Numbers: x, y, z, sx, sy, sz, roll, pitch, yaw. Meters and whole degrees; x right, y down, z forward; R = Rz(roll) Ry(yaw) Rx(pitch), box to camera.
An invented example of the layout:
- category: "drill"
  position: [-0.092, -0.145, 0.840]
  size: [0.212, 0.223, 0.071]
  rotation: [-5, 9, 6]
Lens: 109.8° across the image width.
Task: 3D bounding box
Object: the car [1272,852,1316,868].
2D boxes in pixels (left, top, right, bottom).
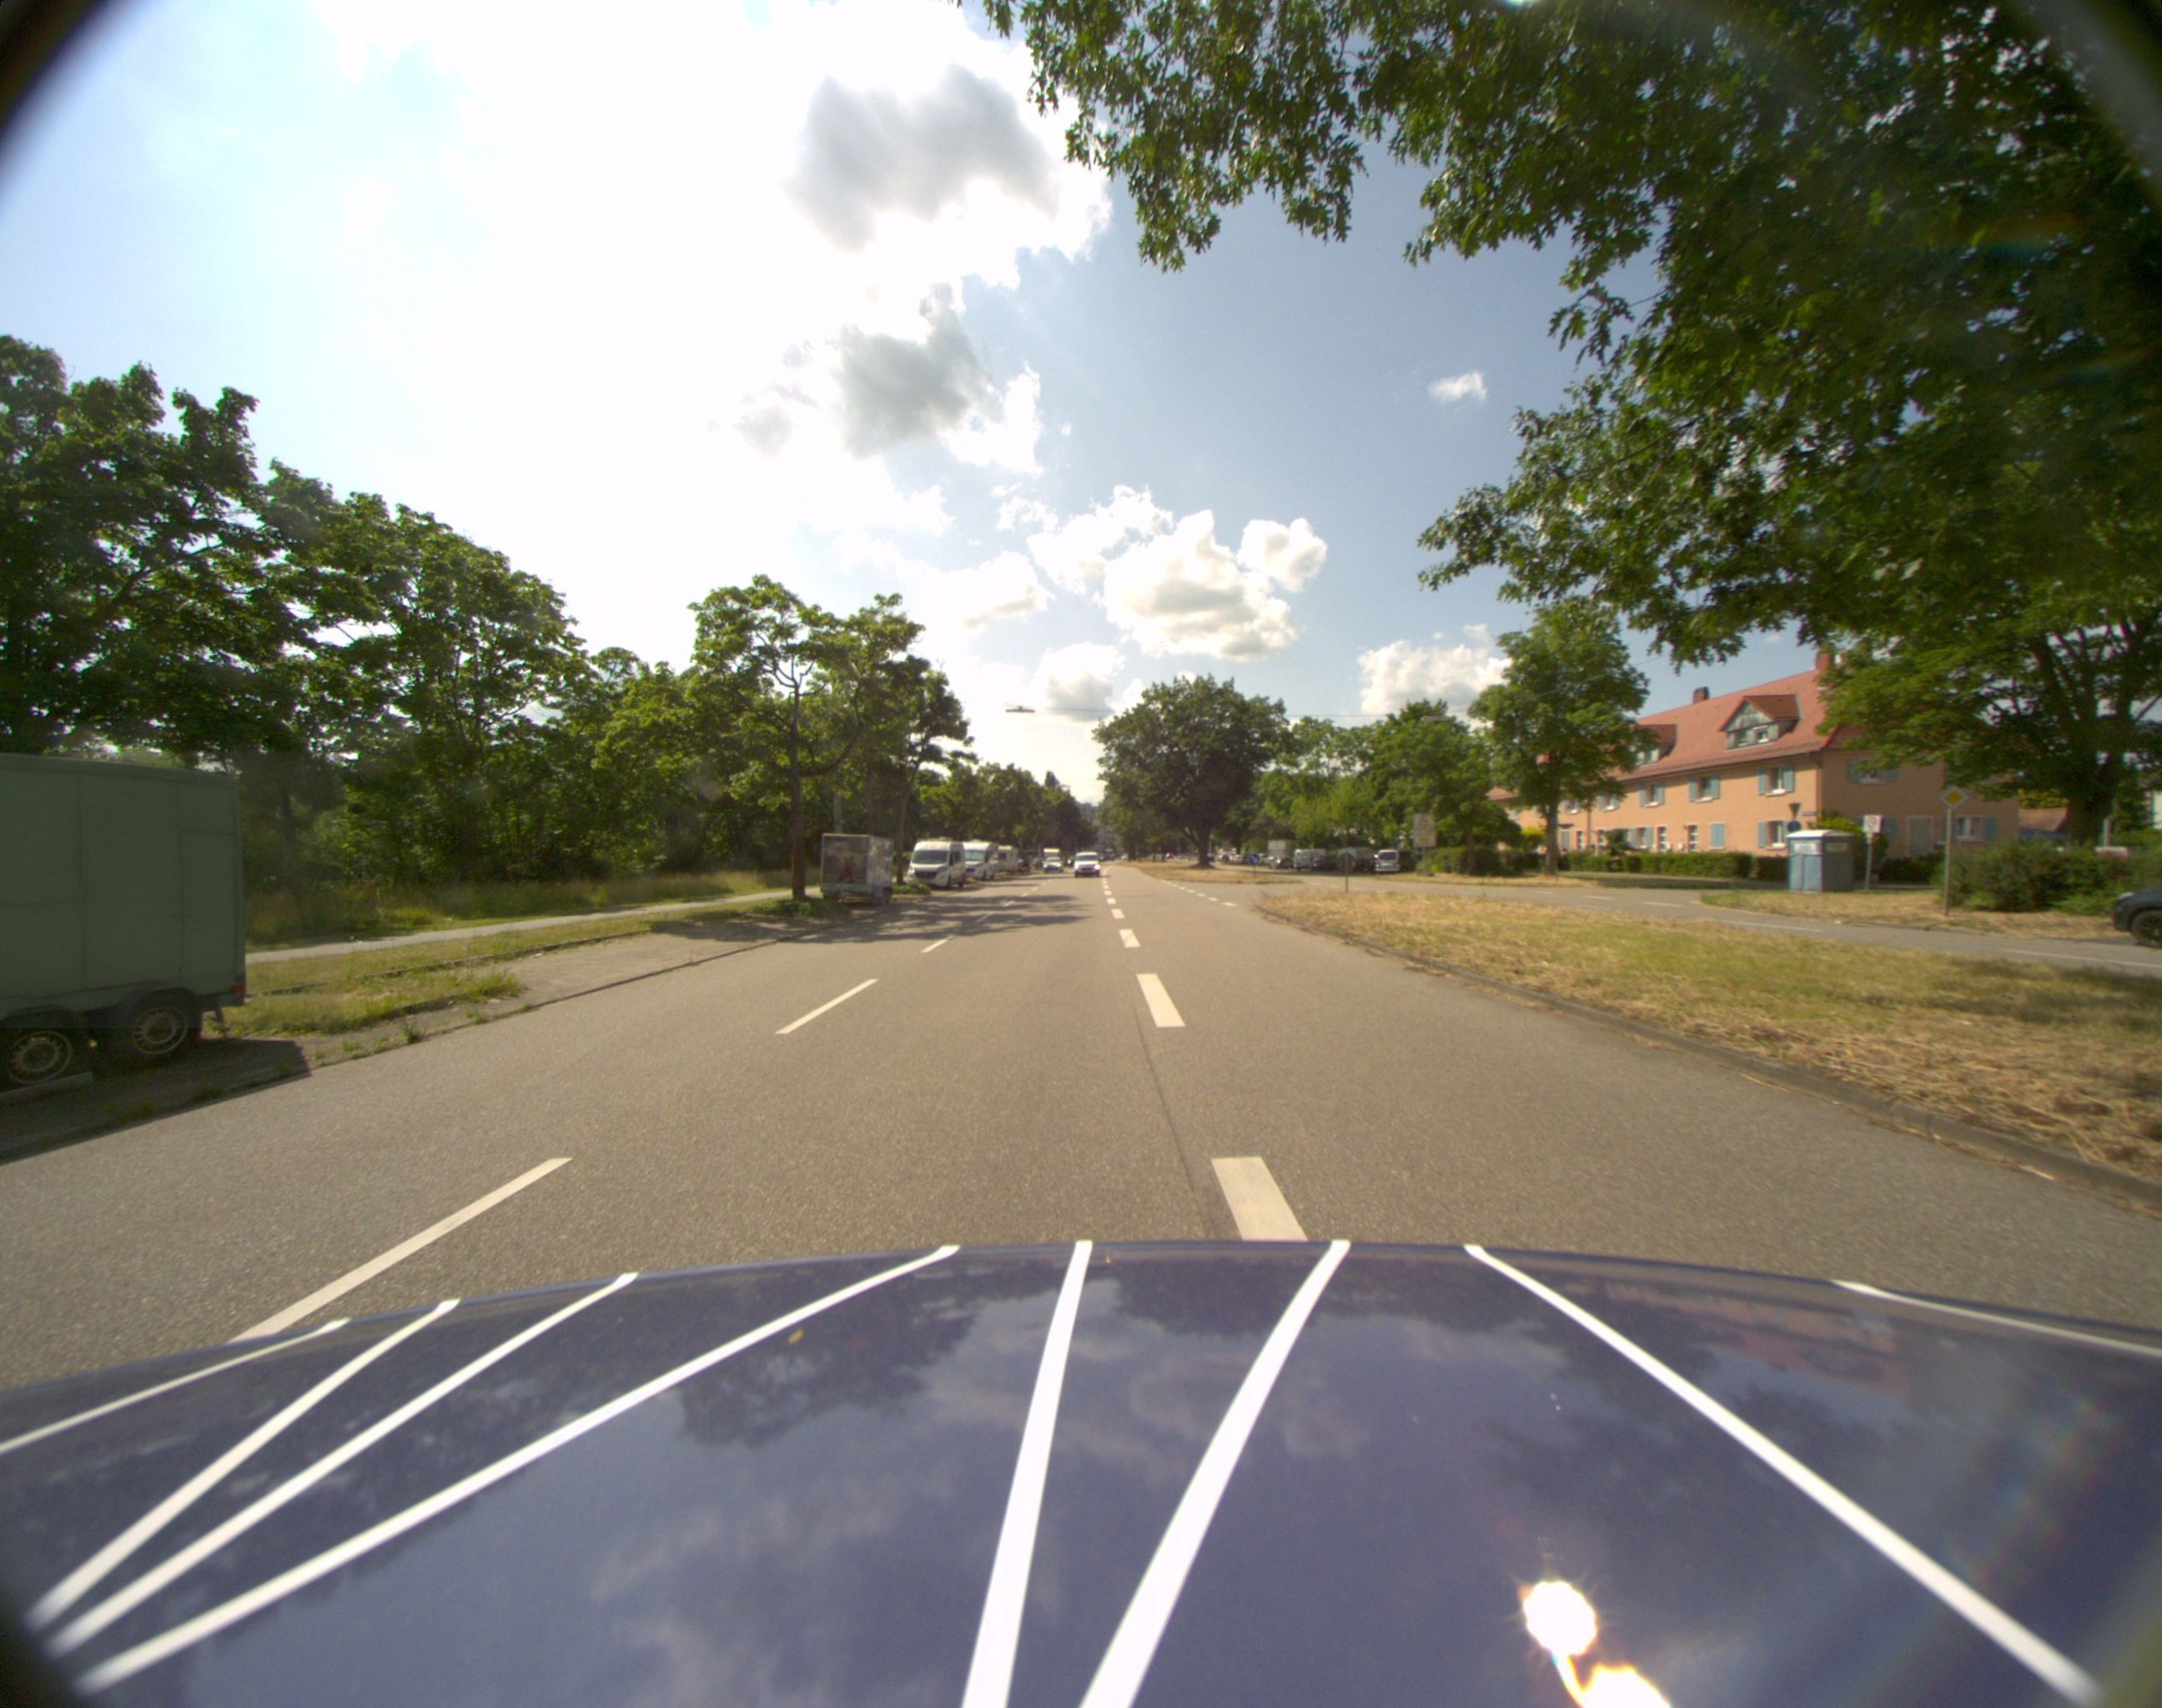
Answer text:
- category: "car"
  position: [21.568, 0.609, 77.035]
  size: [3.996, 1.501, 1.800]
  rotation: [-2, 1, 2]

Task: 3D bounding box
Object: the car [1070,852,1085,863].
- category: "car"
  position: [-0.432, 0.456, 103.741]
  size: [1.892, 1.281, 3.999]
  rotation: [-2, 1, 1]

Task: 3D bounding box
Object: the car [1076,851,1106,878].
- category: "car"
  position: [0.761, 0.711, 53.740]
  size: [1.935, 1.774, 4.716]
  rotation: [-2, 0, 2]

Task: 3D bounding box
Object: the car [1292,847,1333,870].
- category: "car"
  position: [21.974, 0.379, 71.953]
  size: [4.007, 2.002, 1.800]
  rotation: [-3, 1, -41]

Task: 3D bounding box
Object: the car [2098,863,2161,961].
- category: "car"
  position: [18.604, 0.965, 11.237]
  size: [1.771, 1.543, 3.999]
  rotation: [-2, 1, 1]

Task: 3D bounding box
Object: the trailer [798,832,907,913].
- category: "trailer"
  position: [-7.562, 0.530, 25.673]
  size: [1.998, 2.352, 4.782]
  rotation: [4, 1, 1]

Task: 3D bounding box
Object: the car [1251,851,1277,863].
- category: "car"
  position: [24.048, 0.357, 99.807]
  size: [1.668, 1.455, 3.827]
  rotation: [-1, 1, 43]

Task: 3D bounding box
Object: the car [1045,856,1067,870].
- category: "car"
  position: [-2.422, 0.880, 74.999]
  size: [1.892, 1.281, 3.999]
  rotation: [-2, 1, 1]

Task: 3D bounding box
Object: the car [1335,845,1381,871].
- category: "car"
  position: [23.061, 0.309, 63.142]
  size: [4.007, 2.002, 1.800]
  rotation: [-3, 1, -41]

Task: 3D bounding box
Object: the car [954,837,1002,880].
- category: "car"
  position: [-7.081, 0.257, 53.139]
  size: [2.262, 2.787, 6.767]
  rotation: [2, 1, 0]

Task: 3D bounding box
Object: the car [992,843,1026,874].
- category: "car"
  position: [-6.307, 0.310, 67.185]
  size: [2.262, 2.526, 6.767]
  rotation: [2, 1, 0]

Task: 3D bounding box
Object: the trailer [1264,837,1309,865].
- category: "trailer"
  position: [24.082, -0.391, 88.991]
  size: [2.820, 3.090, 5.765]
  rotation: [-2, 0, 39]

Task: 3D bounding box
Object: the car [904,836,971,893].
- category: "car"
  position: [-7.393, 0.471, 39.789]
  size: [2.181, 2.680, 6.150]
  rotation: [-2, 1, 1]

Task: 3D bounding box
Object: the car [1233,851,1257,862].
- category: "car"
  position: [23.456, 0.352, 108.606]
  size: [1.668, 1.341, 3.827]
  rotation: [-1, 1, 43]

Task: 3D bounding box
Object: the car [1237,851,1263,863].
- category: "car"
  position: [22.750, 0.382, 102.141]
  size: [1.668, 1.455, 3.827]
  rotation: [-1, 1, 43]

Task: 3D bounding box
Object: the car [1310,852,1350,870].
- category: "car"
  position: [22.668, 0.622, 69.045]
  size: [4.007, 1.390, 1.569]
  rotation: [-3, 1, -41]

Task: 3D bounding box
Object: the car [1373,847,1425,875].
- category: "car"
  position: [22.526, 0.463, 53.724]
  size: [4.008, 1.849, 1.800]
  rotation: [-1, 0, -41]

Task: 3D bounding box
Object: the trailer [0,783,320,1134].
- category: "trailer"
  position: [-8.147, 0.682, 4.856]
  size: [1.957, 2.338, 4.605]
  rotation: [1, 1, 0]
